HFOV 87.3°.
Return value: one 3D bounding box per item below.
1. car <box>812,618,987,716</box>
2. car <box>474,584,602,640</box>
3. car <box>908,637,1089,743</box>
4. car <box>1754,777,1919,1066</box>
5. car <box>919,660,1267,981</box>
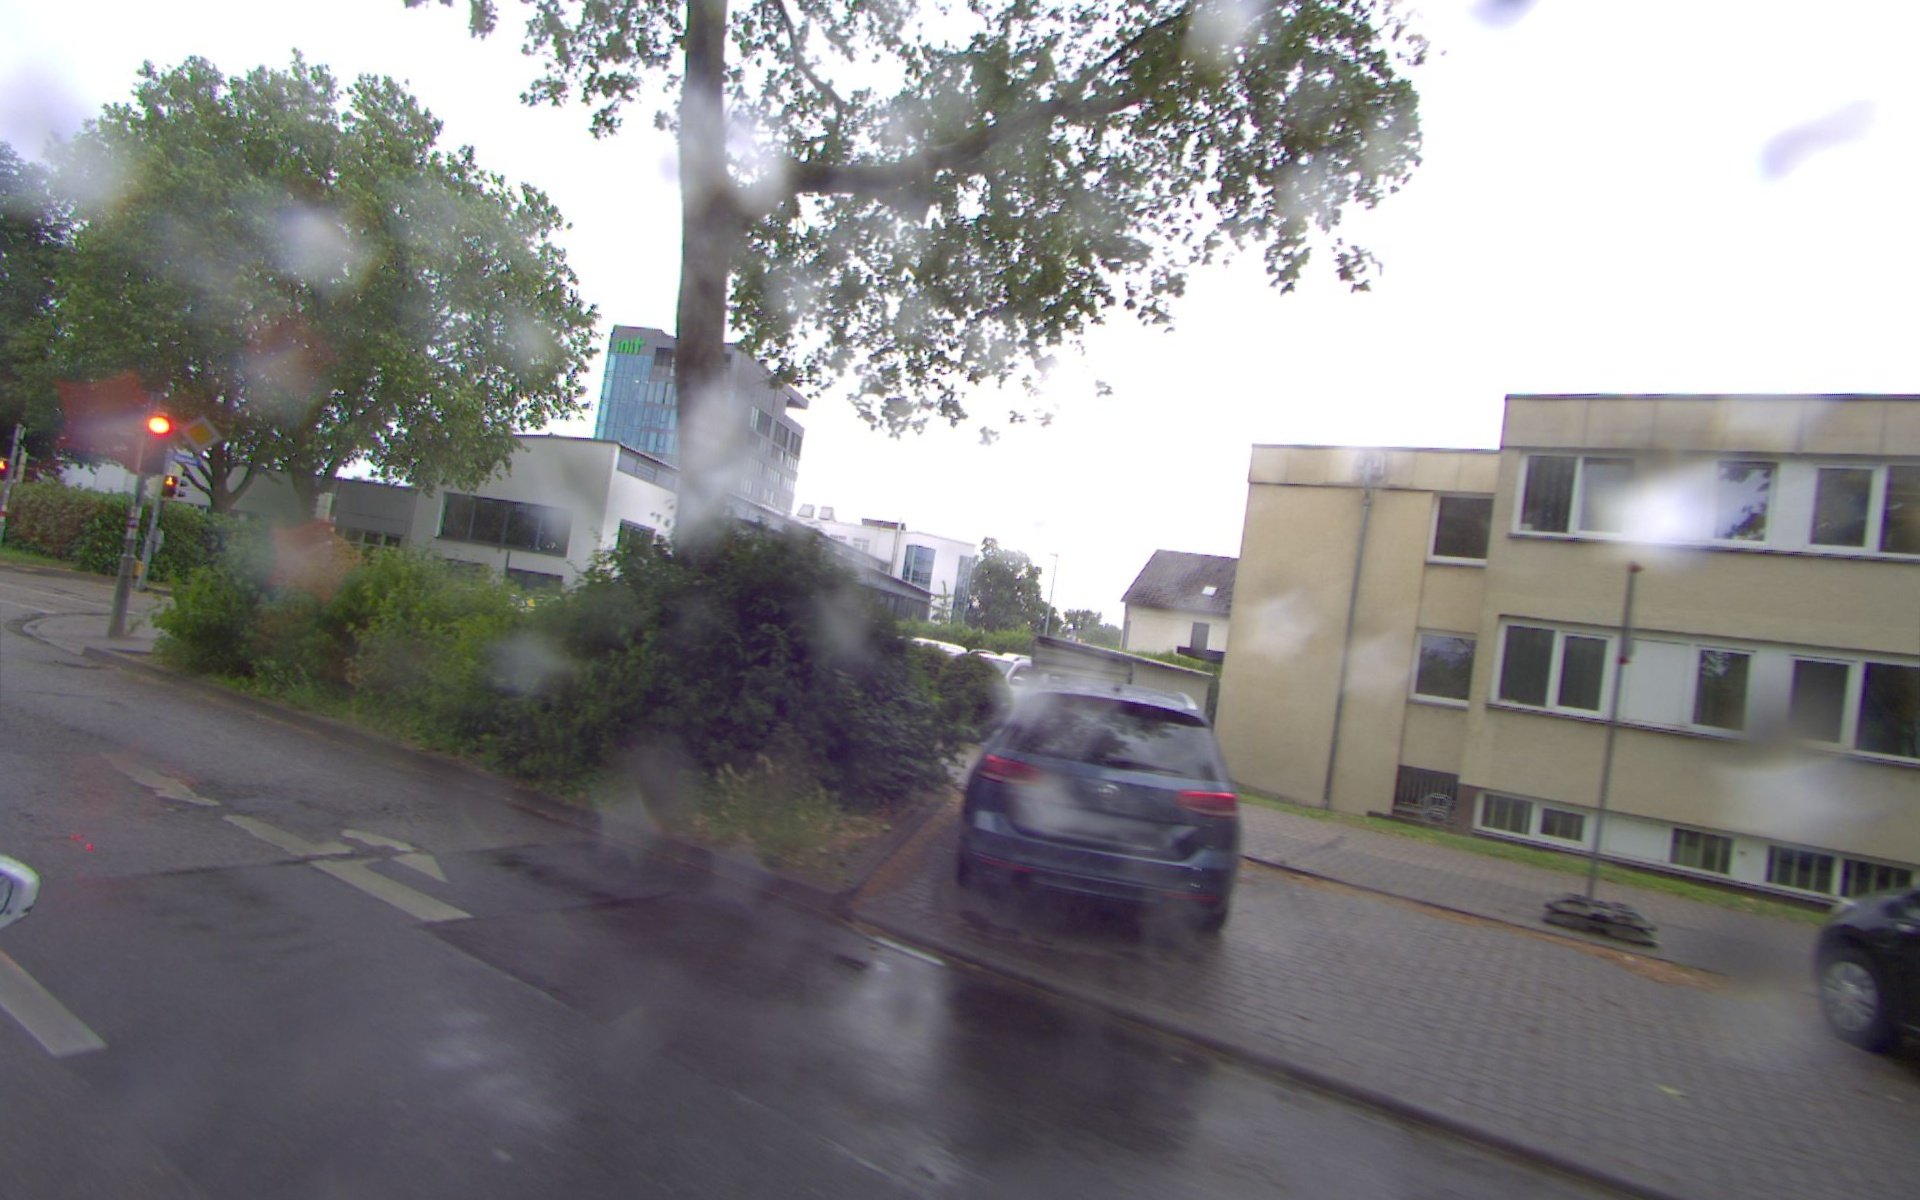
[{"bbox_3d":[-1.251,1.620,23.199,1.750,1.776,4.552,7,-3,28],"label":"car"},{"bbox_3d":[-16.719,0.516,40.088,1.857,1.608,4.304,7,-3,30],"label":"car"},{"bbox_3d":[0.953,1.967,21.220,1.719,1.776,4.550,7,-3,30],"label":"car"},{"bbox_3d":[6.129,1.915,4.857,1.716,1.432,3.698,8,-3,5],"label":"car"},{"bbox_3d":[1.029,1.345,7.750,1.716,1.475,4.504,8,-3,9],"label":"car"}]
